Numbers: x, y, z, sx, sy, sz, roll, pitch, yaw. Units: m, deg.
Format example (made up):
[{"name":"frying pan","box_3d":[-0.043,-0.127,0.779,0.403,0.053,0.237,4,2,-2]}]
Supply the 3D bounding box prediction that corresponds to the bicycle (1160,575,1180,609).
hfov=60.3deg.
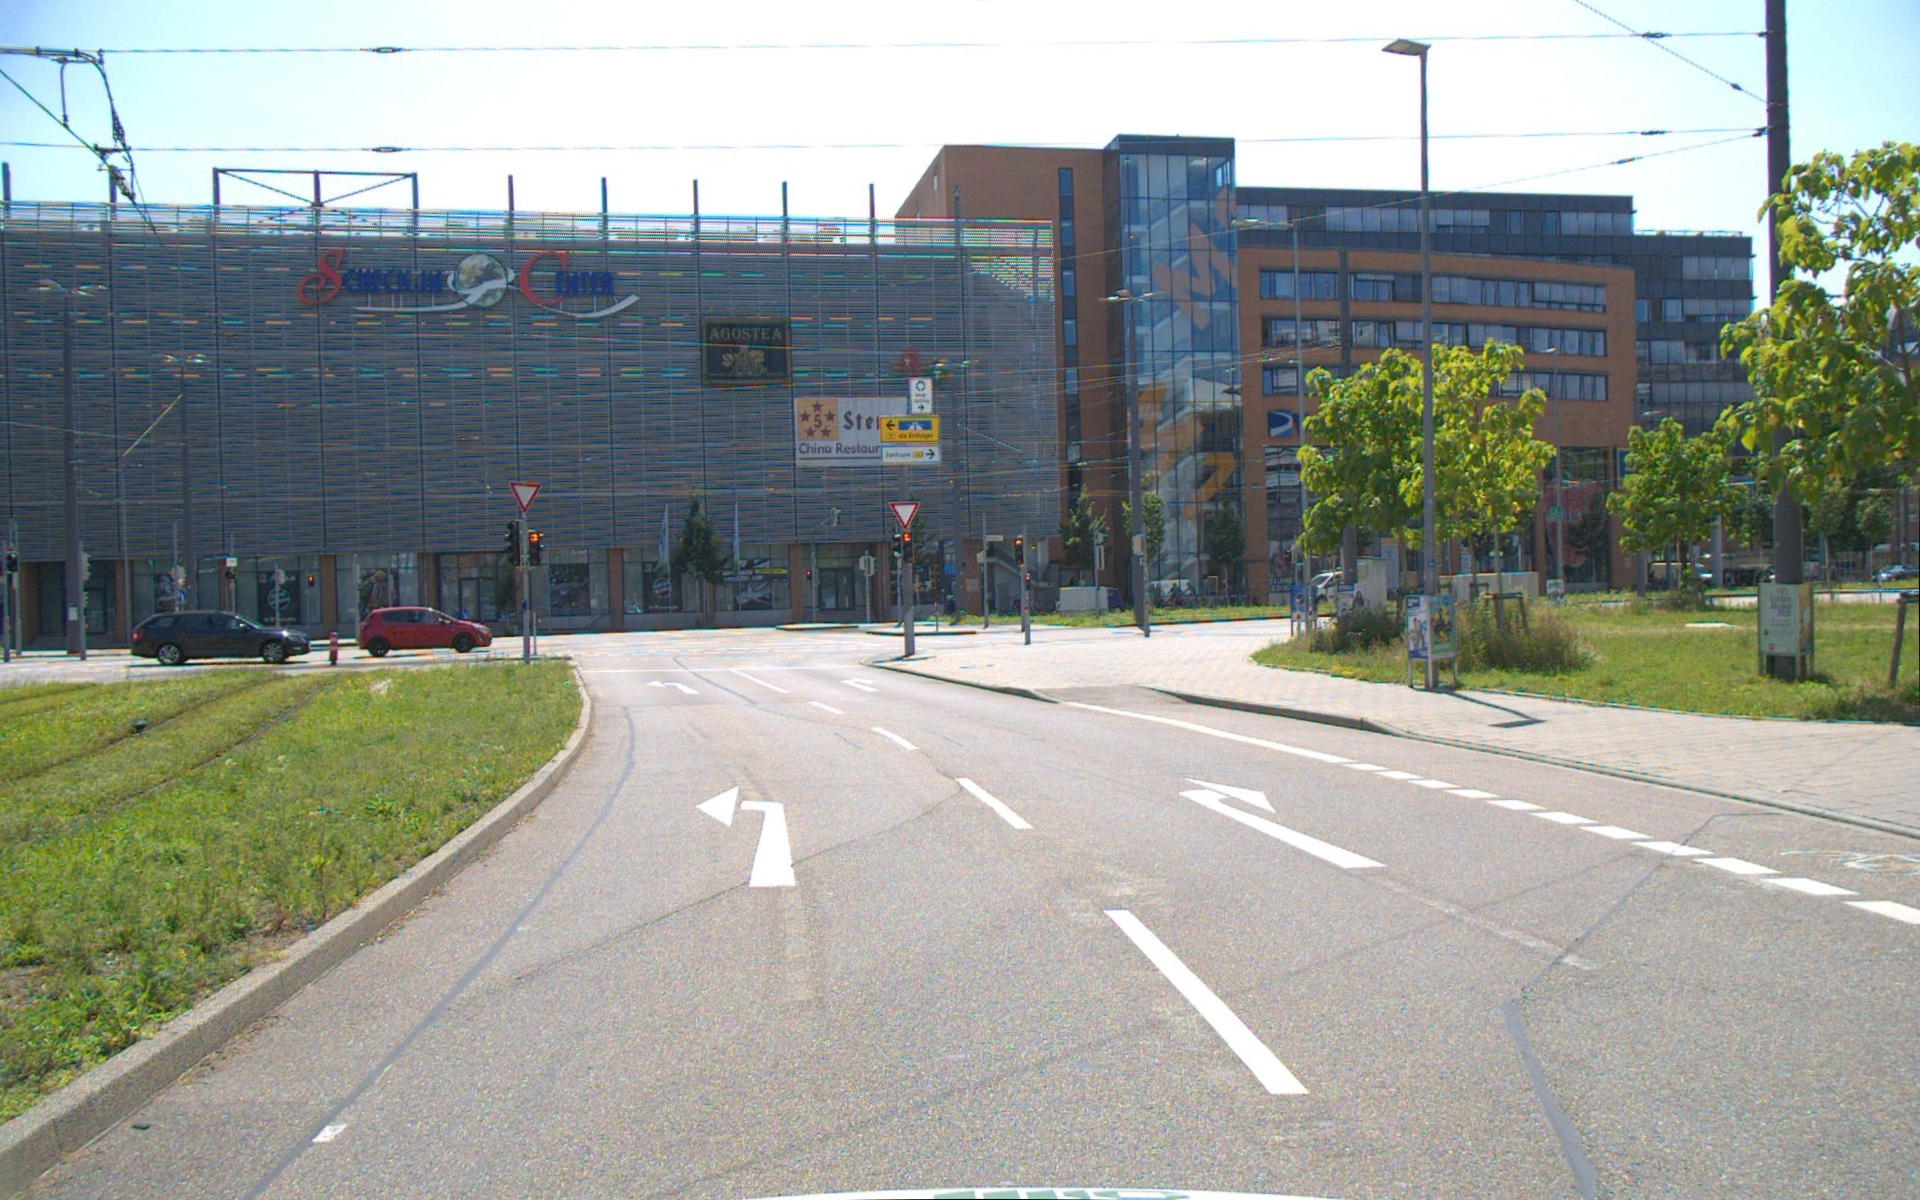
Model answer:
[{"name":"bicycle","box_3d":[13.063,-0.511,102.926,0.476,2.049,2.340,-1,1,-11]}]

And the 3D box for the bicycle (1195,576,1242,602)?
[{"name":"bicycle","box_3d":[16.022,-0.690,102.351,2.798,1.584,0.703,-1,0,-11]}]

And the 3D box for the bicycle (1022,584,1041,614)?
[{"name":"bicycle","box_3d":[4.297,-0.077,99.778,0.588,1.761,2.254,-1,1,-11]}]

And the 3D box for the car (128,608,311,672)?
[{"name":"car","box_3d":[-20.582,1.088,46.189,4.460,1.534,1.831,-2,1,-20]}]

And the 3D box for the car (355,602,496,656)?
[{"name":"car","box_3d":[-16.454,0.882,51.076,4.060,1.534,1.834,-1,1,-17]}]

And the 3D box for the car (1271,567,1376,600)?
[{"name":"car","box_3d":[19.866,-0.895,90.454,5.380,1.697,1.989,-1,1,-19]}]

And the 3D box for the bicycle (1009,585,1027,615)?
[{"name":"bicycle","box_3d":[3.476,-0.026,99.621,0.588,1.761,2.254,-1,1,-11]}]

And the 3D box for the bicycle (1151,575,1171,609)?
[{"name":"bicycle","box_3d":[12.486,-0.501,102.808,0.476,2.049,2.340,-1,1,-11]}]

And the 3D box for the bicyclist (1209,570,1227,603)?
[{"name":"bicyclist","box_3d":[15.945,-0.821,102.292,0.896,2.049,0.746,-1,0,-11]}]

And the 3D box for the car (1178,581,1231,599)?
[{"name":"car","box_3d":[14.787,-0.586,100.066,2.945,1.053,1.344,-1,1,-16]}]

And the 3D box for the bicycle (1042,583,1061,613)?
[{"name":"bicycle","box_3d":[5.520,-0.142,99.600,0.588,1.761,2.254,-1,1,-11]}]

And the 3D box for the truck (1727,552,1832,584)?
[{"name":"truck","box_3d":[76.580,-3.007,154.763,1.975,2.858,9.133,-1,1,-33]}]

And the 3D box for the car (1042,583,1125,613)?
[{"name":"car","box_3d":[6.318,-0.125,84.873,3.920,1.467,1.737,-1,1,-14]}]

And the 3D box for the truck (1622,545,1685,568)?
[{"name":"truck","box_3d":[65.488,-4.089,156.237,1.863,2.049,5.308,-1,1,-37]}]
